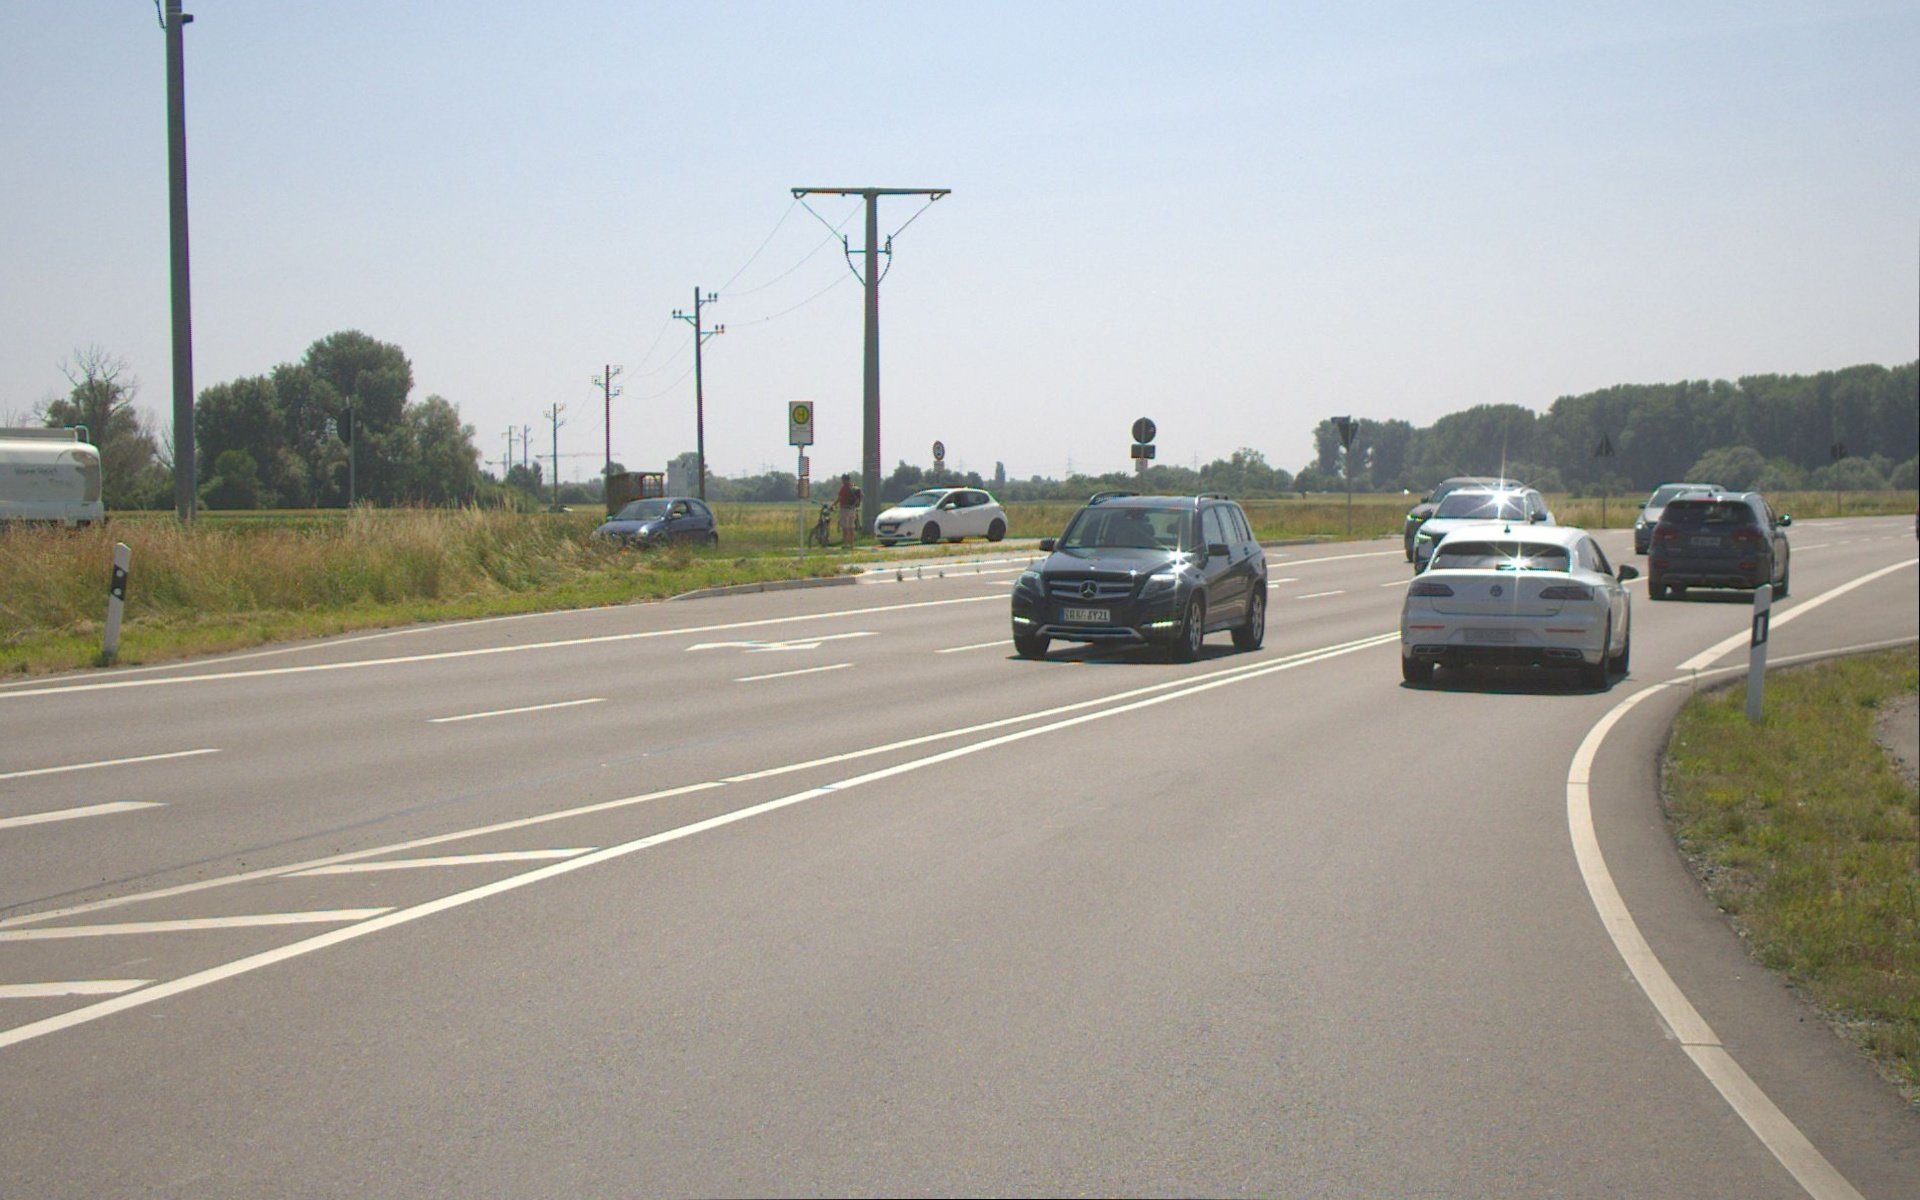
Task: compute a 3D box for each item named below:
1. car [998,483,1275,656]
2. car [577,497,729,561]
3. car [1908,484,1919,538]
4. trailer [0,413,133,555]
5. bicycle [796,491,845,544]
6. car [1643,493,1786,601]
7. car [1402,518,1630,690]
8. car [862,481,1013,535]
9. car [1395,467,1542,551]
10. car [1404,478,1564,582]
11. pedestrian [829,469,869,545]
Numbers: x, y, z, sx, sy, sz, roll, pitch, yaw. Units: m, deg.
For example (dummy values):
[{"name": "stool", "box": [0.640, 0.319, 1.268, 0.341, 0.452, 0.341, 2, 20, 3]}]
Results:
[{"name": "car", "box": [1.890, -0.376, 35.447, 1.867, 1.644, 4.324, 1, 2, 17]}, {"name": "car", "box": [-6.953, -1.613, 78.171, 1.676, 1.382, 3.833, 2, 2, 26]}, {"name": "car", "box": [26.741, -2.377, 92.680, 1.802, 1.424, 4.088, 2, 2, 22]}, {"name": "trailer", "box": [-17.630, -2.068, 60.727, 2.681, 2.447, 6.376, 2, 2, 22]}, {"name": "bicycle", "box": [-3.330, -1.966, 82.120, 0.491, 1.243, 1.508, 2, 1, 26]}, {"name": "car", "box": [11.943, -0.809, 54.220, 1.936, 1.611, 4.375, -1, 0, 16]}, {"name": "car", "box": [5.206, -0.008, 31.782, 1.849, 1.428, 4.606, 2, 1, 12]}, {"name": "car", "box": [-0.575, -2.429, 91.015, 1.695, 1.327, 4.027, 3, 2, 42]}, {"name": "car", "box": [10.484, -1.882, 70.568, 1.964, 1.644, 4.785, 1, 2, 21]}, {"name": "car", "box": [8.927, -1.193, 58.275, 1.880, 1.645, 4.839, 2, 2, 18]}, {"name": "pedestrian", "box": [-2.653, -2.224, 82.209, 0.609, 1.779, 0.845, 2, 1, 27]}]
